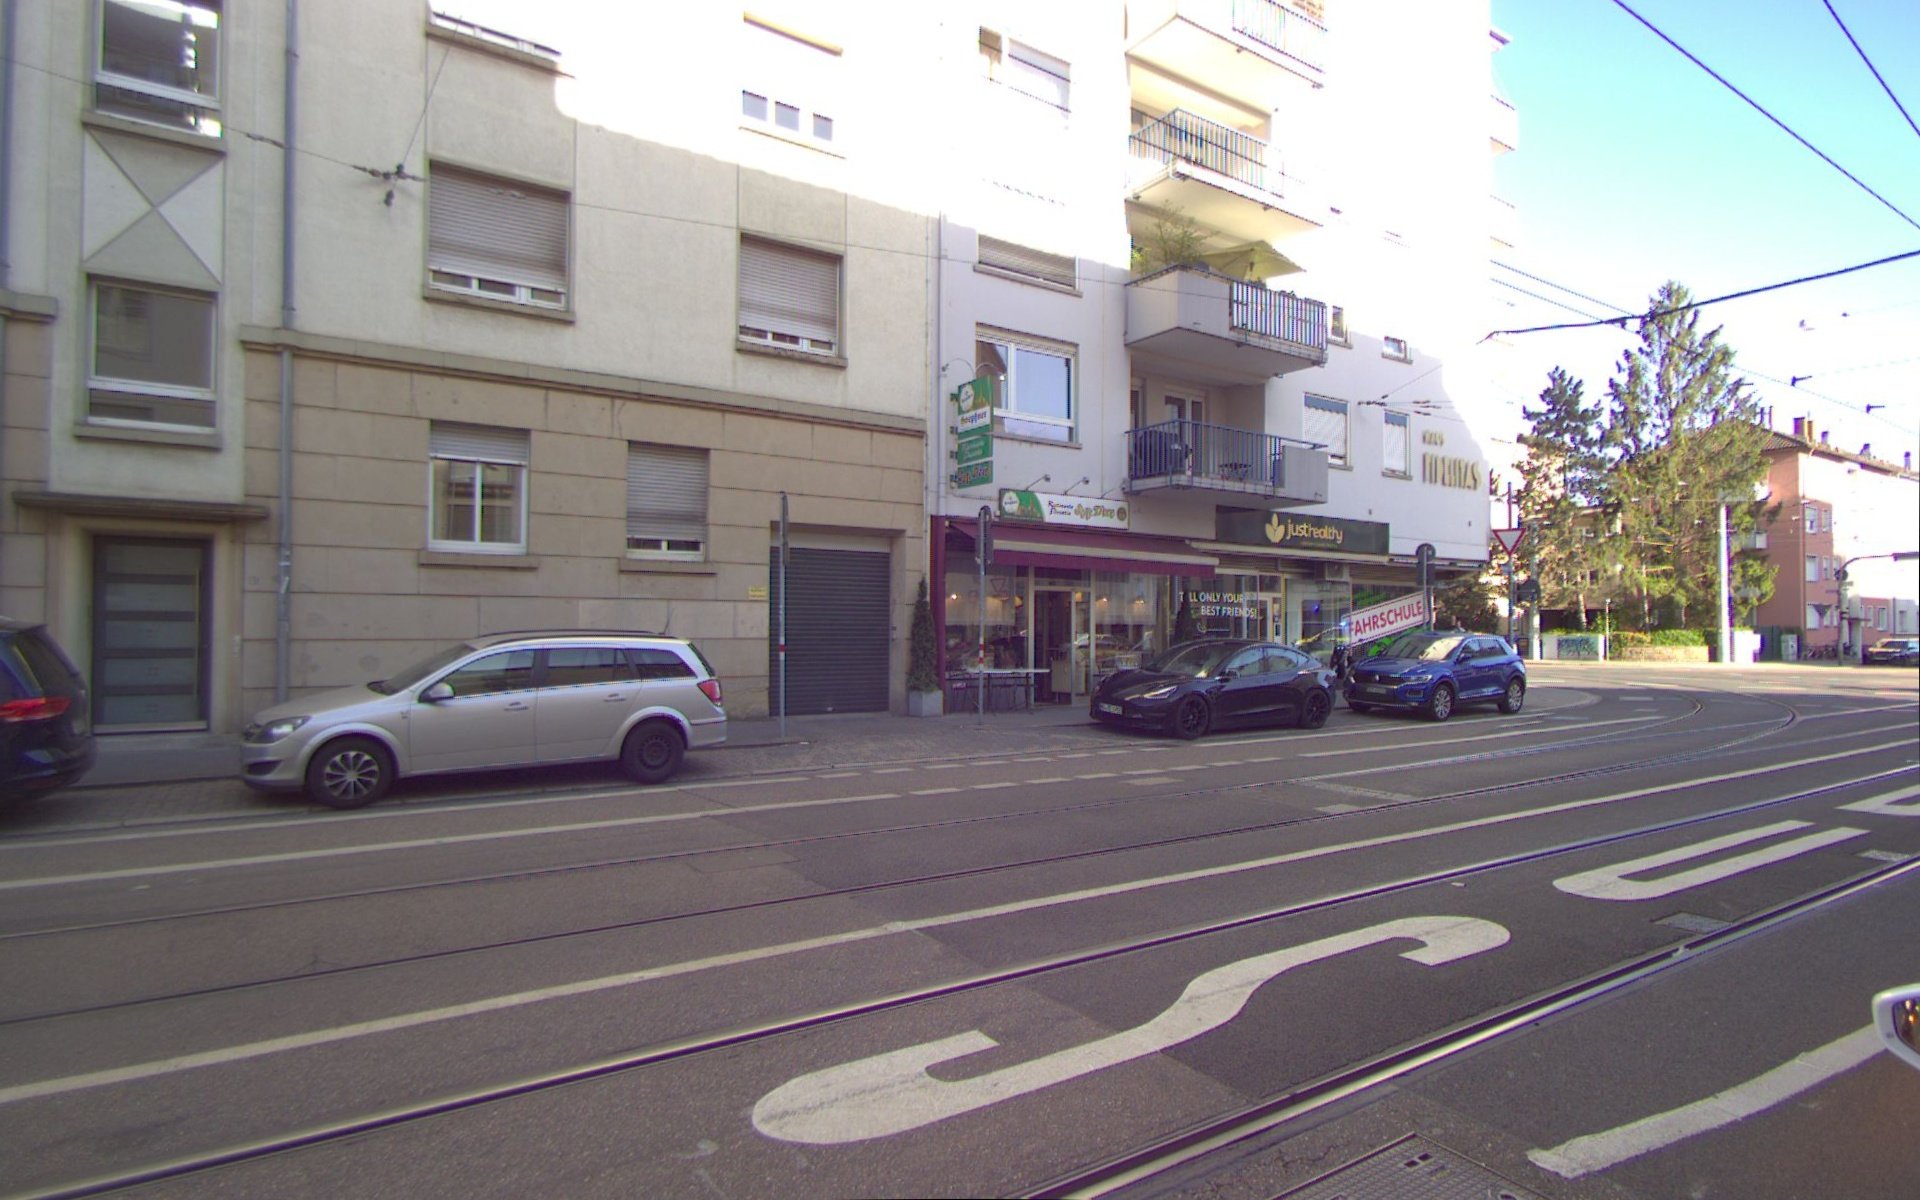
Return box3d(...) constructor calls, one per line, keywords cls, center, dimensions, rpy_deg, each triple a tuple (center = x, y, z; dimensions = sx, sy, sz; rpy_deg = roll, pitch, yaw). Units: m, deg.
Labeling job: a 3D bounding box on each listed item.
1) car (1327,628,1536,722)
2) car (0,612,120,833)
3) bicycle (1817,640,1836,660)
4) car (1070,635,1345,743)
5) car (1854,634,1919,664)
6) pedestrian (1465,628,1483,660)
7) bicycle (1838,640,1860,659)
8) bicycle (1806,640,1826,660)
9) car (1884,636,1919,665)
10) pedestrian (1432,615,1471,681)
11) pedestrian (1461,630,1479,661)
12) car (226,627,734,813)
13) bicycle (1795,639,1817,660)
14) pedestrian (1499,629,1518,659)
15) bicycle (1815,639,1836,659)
box3d(cls="car", center=(8.998, 1.346, 19.086), dimensions=(4.072, 1.525, 1.714), rpy_deg=(1, 1, -34))
box3d(cls="car", center=(-8.986, 0.881, 7.190), dimensions=(4.343, 1.620, 1.785), rpy_deg=(1, -1, -34))
box3d(cls="bicycle", center=(47.608, 2.747, 55.174), dimensions=(1.895, 1.097, 0.532), rpy_deg=(2, -2, -41))
box3d(cls="car", center=(4.019, 1.316, 16.043), dimensions=(4.442, 1.422, 1.714), rpy_deg=(1, 1, -34))
box3d(cls="car", center=(49.727, 2.617, 53.792), dimensions=(3.961, 1.539, 1.938), rpy_deg=(1, -2, -36))
box3d(cls="pedestrian", center=(27.945, 2.398, 54.610), dimensions=(0.798, 1.725, 0.604), rpy_deg=(-1, -2, 37))
box3d(cls="bicycle", center=(53.158, 2.938, 60.035), dimensions=(1.892, 1.097, 0.605), rpy_deg=(1, -2, -37))
box3d(cls="bicycle", center=(47.180, 2.735, 55.349), dimensions=(1.895, 1.097, 0.532), rpy_deg=(2, -2, -41))
box3d(cls="car", center=(54.275, 2.840, 57.022), dimensions=(4.006, 1.539, 1.938), rpy_deg=(1, -2, -36))
box3d(cls="pedestrian", center=(14.016, 1.353, 28.674), dimensions=(0.707, 1.859, 0.771), rpy_deg=(0, -1, -3))
box3d(cls="pedestrian", center=(28.210, 2.503, 55.545), dimensions=(0.798, 1.725, 0.632), rpy_deg=(-1, -2, 37))
box3d(cls="car", center=(-4.699, 1.050, 10.213), dimensions=(4.343, 1.497, 1.785), rpy_deg=(1, -1, -34))
box3d(cls="bicycle", center=(46.884, 2.725, 55.641), dimensions=(1.895, 1.097, 0.634), rpy_deg=(2, -2, -41))
box3d(cls="pedestrian", center=(31.522, 2.539, 57.746), dimensions=(0.800, 1.725, 0.676), rpy_deg=(-1, -2, 44))
box3d(cls="bicycle", center=(50.742, 2.861, 58.890), dimensions=(1.892, 1.097, 0.533), rpy_deg=(1, -2, -37))
